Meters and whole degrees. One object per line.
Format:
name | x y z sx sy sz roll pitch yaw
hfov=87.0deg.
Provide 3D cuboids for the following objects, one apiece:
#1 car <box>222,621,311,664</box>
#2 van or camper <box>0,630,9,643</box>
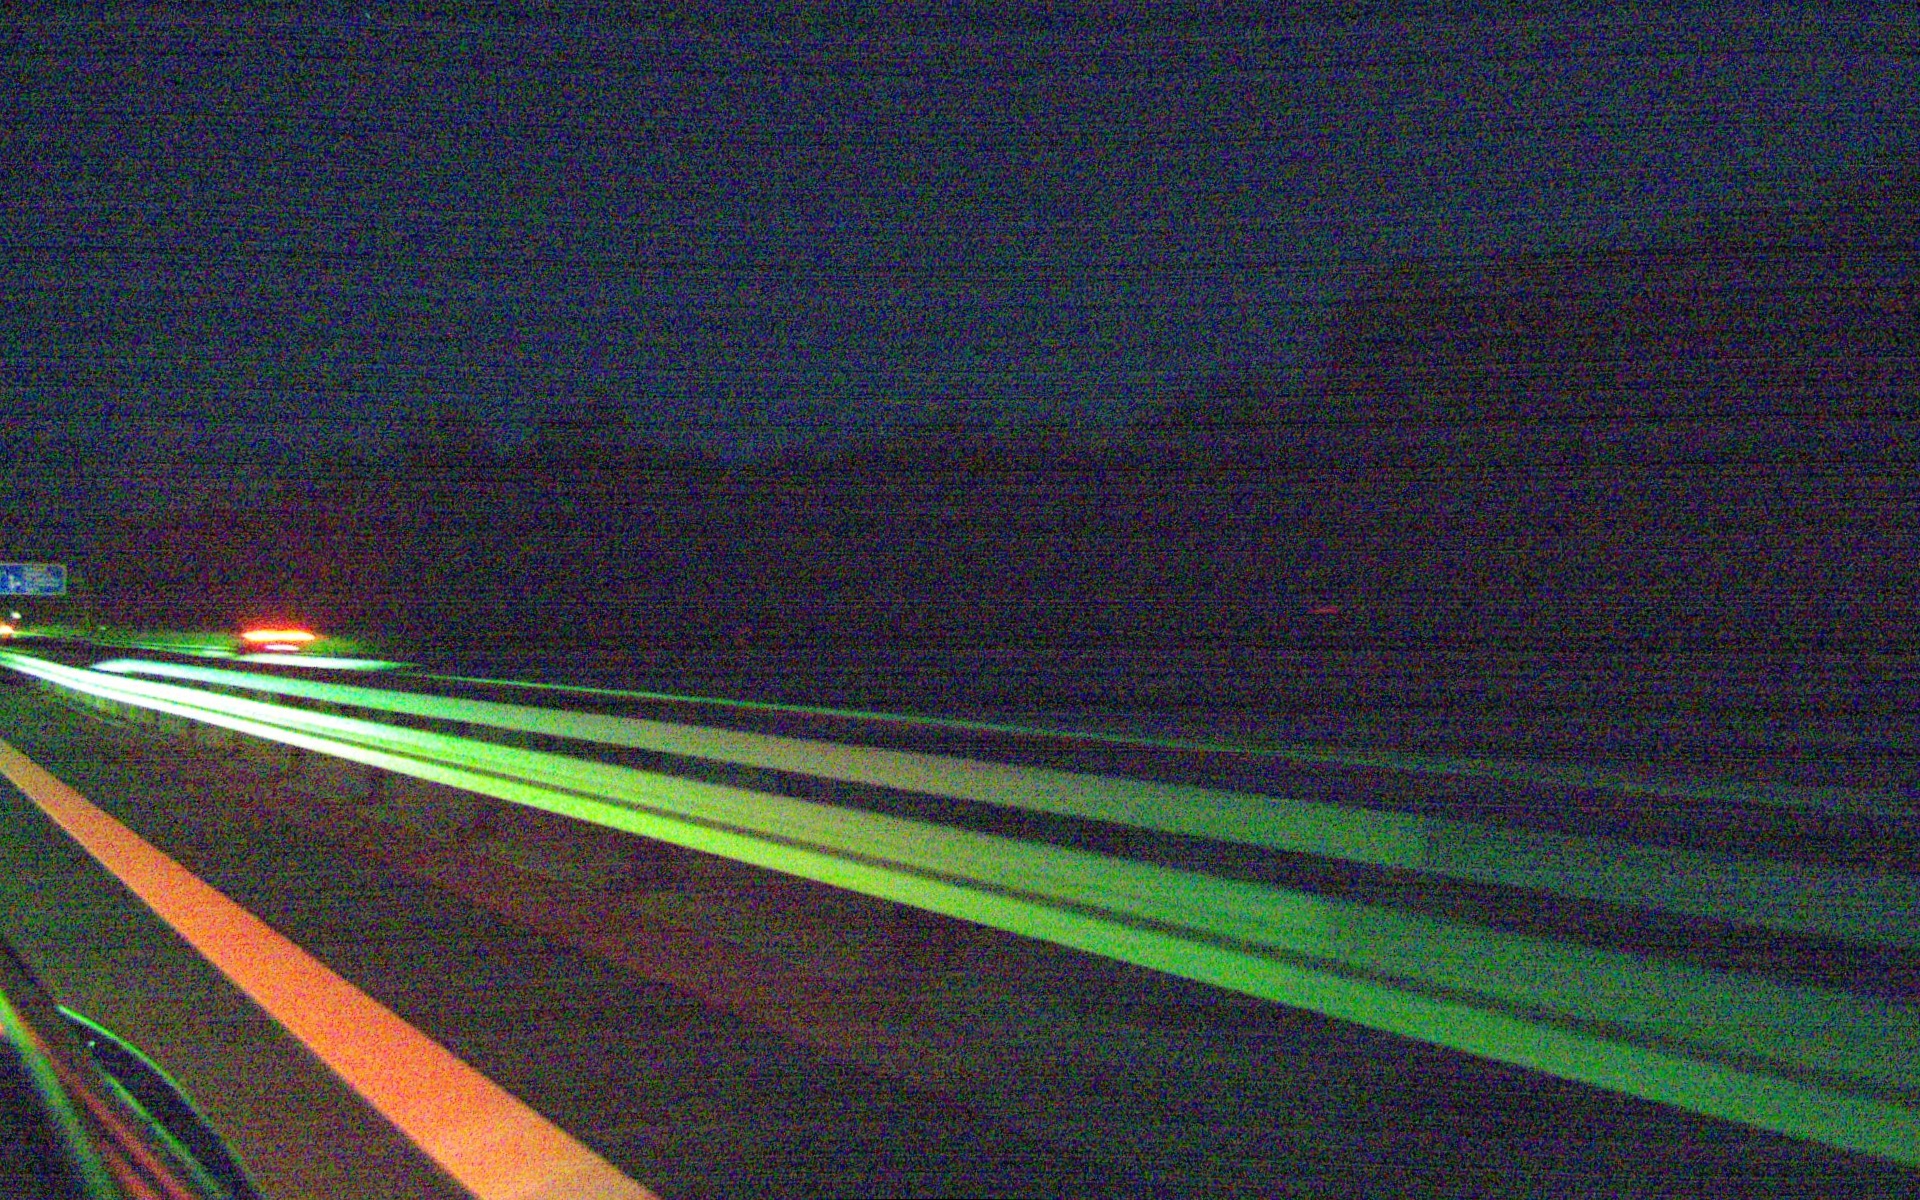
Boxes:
car | -29.412 1.789 42.881 5.074 1.651 1.972 -2 -5 43
van or camper | -105.495 3.968 110.577 5.100 1.452 1.761 -1 -4 41
